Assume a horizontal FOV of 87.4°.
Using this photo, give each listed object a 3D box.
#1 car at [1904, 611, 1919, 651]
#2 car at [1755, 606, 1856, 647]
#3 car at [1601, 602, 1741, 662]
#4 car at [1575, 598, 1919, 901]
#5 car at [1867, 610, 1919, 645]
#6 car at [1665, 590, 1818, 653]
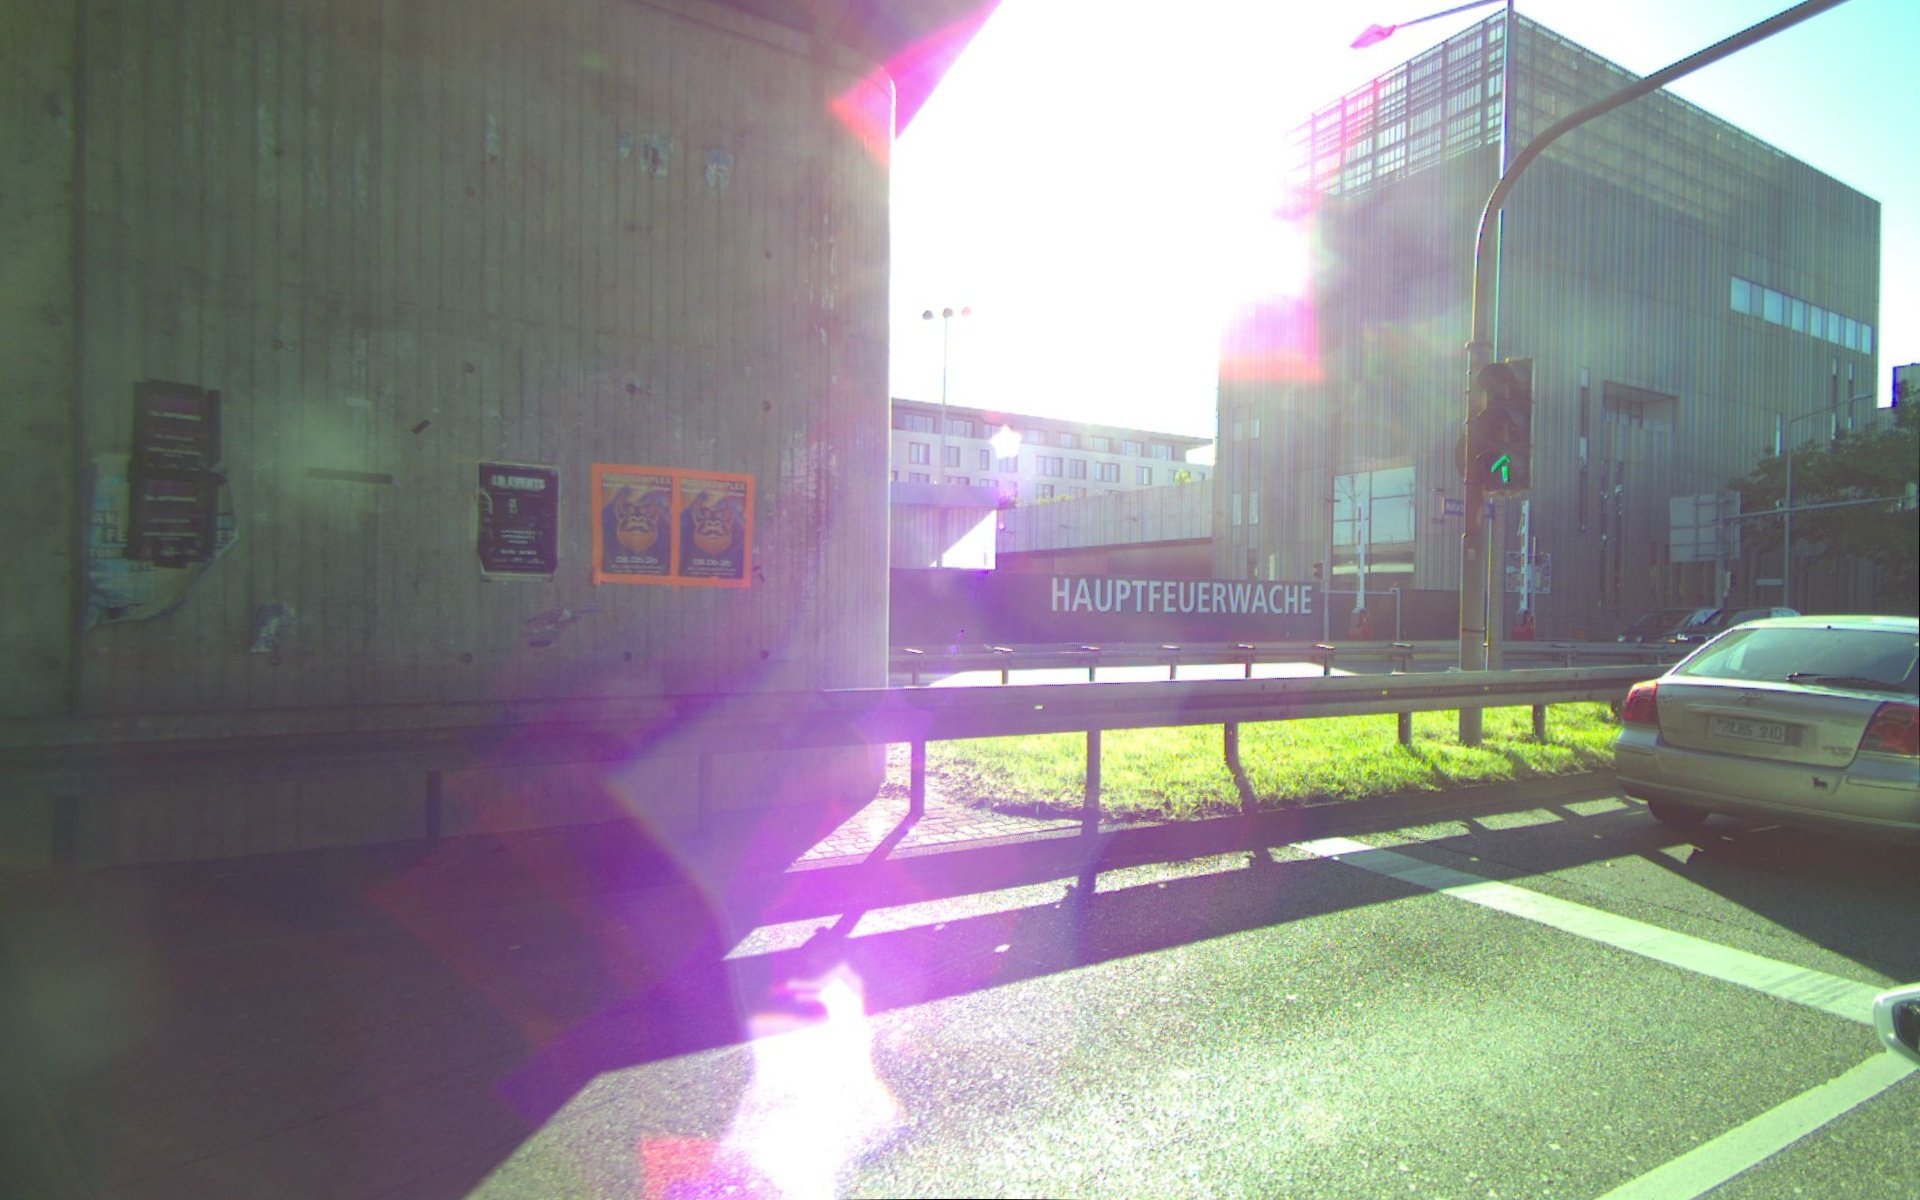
[{"bbox_3d":[36.423,1.128,36.741,3.930,1.423,1.639,1,-2,-29],"label":"car"},{"bbox_3d":[31.825,1.016,37.798,3.930,1.501,1.639,1,-2,-29],"label":"car"},{"bbox_3d":[22.336,1.017,31.525,4.574,1.760,1.816,1,-2,-30],"label":"car"},{"bbox_3d":[6.260,0.810,6.793,4.267,1.499,1.725,2,0,-30],"label":"car"},{"bbox_3d":[40.143,1.184,42.455,3.449,1.453,1.639,1,-2,-29],"label":"car"},{"bbox_3d":[21.877,0.637,28.076,4.476,1.646,1.816,1,-2,-30],"label":"car"}]
